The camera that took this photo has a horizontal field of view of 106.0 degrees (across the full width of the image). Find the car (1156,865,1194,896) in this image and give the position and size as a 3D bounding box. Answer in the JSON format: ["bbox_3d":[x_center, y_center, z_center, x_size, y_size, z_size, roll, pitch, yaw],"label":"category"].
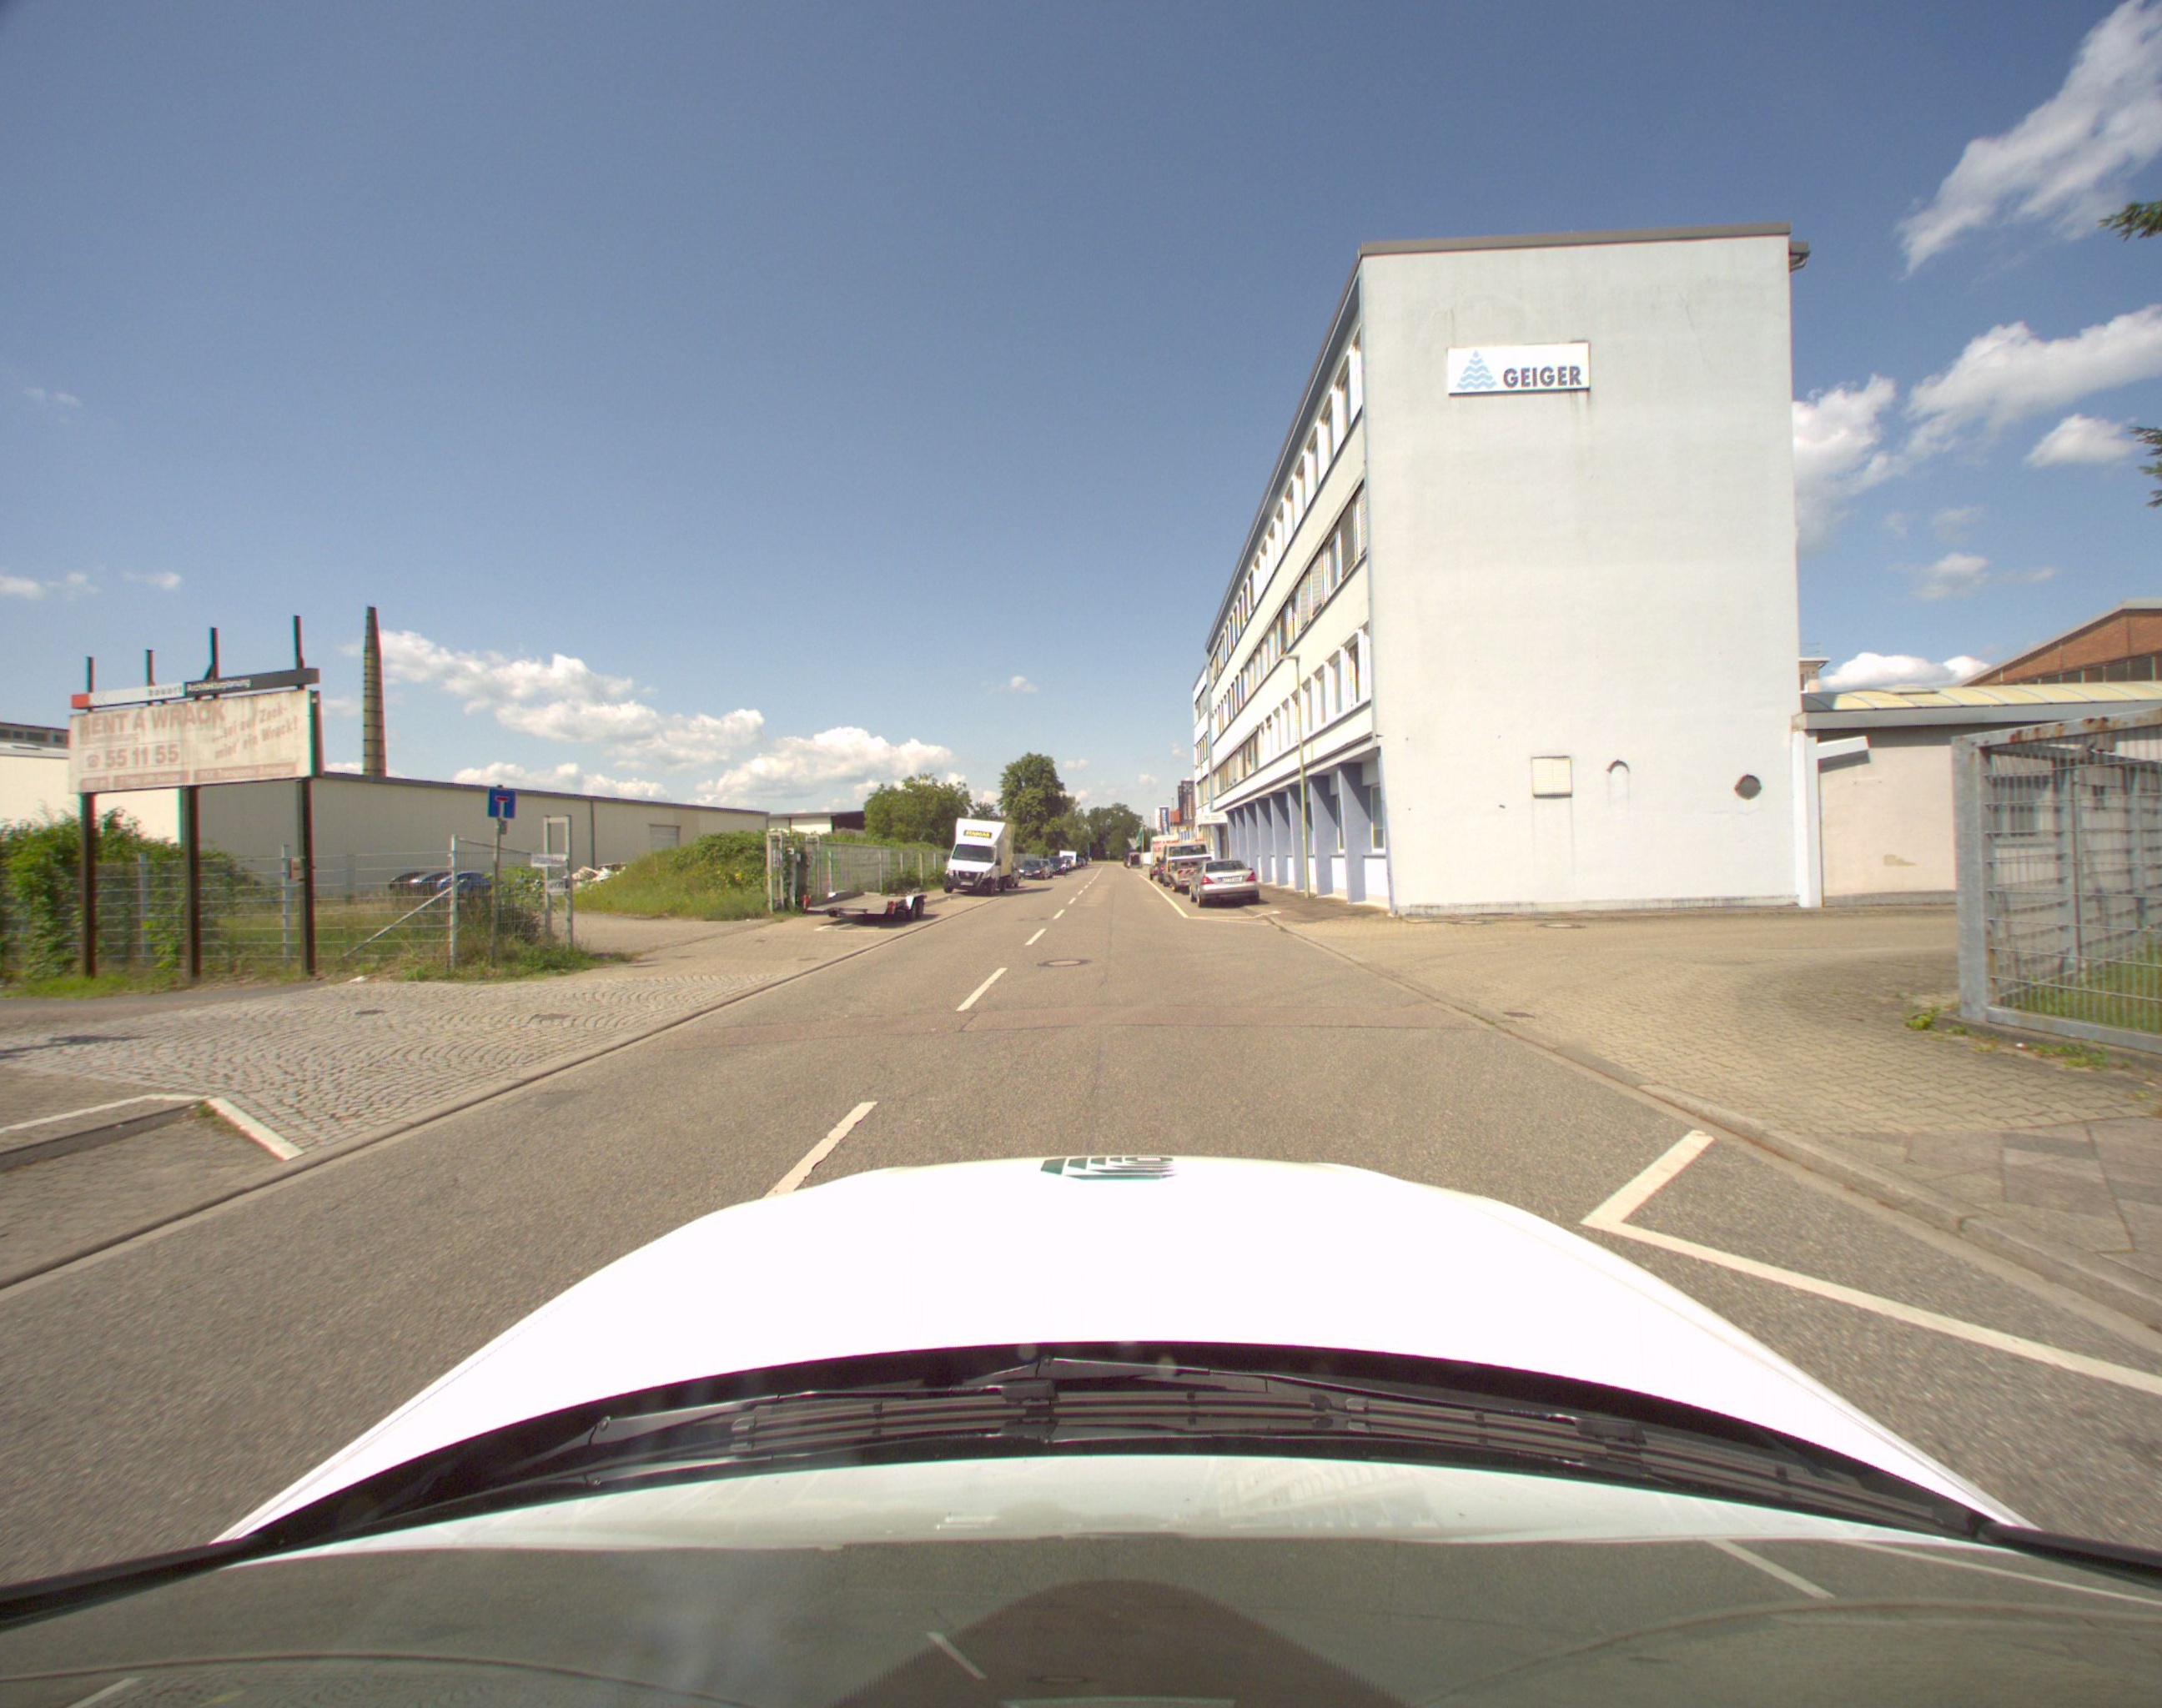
[{"bbox_3d":[4.893,1.339,42.753,1.711,1.542,4.406,0,-1,3],"label":"car"}]

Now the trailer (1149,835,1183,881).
[{"bbox_3d":[5.013,0.247,48.606,1.860,2.553,5.078,-1,0,5],"label":"trailer"}]

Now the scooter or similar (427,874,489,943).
[{"bbox_3d":[-12.307,1.051,16.089,0.887,1.275,0.886,-1,-1,-42],"label":"scooter or similar"}]

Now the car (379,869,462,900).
[{"bbox_3d":[-34.620,1.583,42.700,3.949,1.534,2.012,-1,0,29],"label":"car"}]

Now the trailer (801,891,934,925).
[{"bbox_3d":[-5.441,1.377,21.416,2.227,0.552,4.445,-1,0,1],"label":"trailer"}]

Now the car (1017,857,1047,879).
[{"bbox_3d":[-3.478,0.996,58.235,1.562,1.399,3.802,4,0,4],"label":"car"}]

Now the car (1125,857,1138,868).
[{"bbox_3d":[6.836,1.175,110.254,1.566,1.507,4.134,-1,-1,2],"label":"car"}]

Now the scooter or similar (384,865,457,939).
[{"bbox_3d":[-14.760,1.036,18.188,1.176,1.537,1.432,-1,-1,-42],"label":"scooter or similar"}]

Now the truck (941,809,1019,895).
[{"bbox_3d":[-4.372,-0.077,36.466,2.242,3.362,6.909,3,0,1],"label":"truck"}]

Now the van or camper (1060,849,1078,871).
[{"bbox_3d":[-1.685,0.865,115.061,2.255,2.804,6.833,2,-1,0],"label":"van or camper"}]

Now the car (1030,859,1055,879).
[{"bbox_3d":[-2.960,1.120,63.274,1.609,1.483,3.711,1,0,2],"label":"car"}]

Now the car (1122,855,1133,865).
[{"bbox_3d":[7.989,0.976,140.001,1.818,1.664,4.558,-2,0,2],"label":"car"}]

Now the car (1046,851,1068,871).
[{"bbox_3d":[-2.210,0.680,76.463,1.794,1.750,4.714,-1,-1,1],"label":"car"}]

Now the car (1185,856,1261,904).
[{"bbox_3d":[4.086,0.713,23.985,1.641,1.246,4.002,-1,0,2],"label":"car"}]

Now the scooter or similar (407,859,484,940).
[{"bbox_3d":[-13.329,0.922,17.077,1.176,1.586,1.304,-1,-1,-42],"label":"scooter or similar"}]

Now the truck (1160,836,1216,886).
[{"bbox_3d":[4.647,0.305,36.015,1.957,2.035,4.736,-1,0,2],"label":"truck"}]

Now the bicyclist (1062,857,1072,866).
[{"bbox_3d":[-1.098,0.589,64.578,0.563,0.631,1.860,0,0,5],"label":"bicyclist"}]

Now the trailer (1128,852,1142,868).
[{"bbox_3d":[6.866,0.733,104.068,1.595,2.037,2.741,0,-1,1],"label":"trailer"}]

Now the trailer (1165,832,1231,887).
[{"bbox_3d":[4.567,0.210,32.712,1.966,1.971,5.768,-1,0,2],"label":"trailer"}]

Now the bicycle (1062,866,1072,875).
[{"bbox_3d":[-1.103,1.303,64.584,0.585,0.741,2.128,-1,0,4],"label":"bicycle"}]

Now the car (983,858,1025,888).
[{"bbox_3d":[-4.070,0.994,43.696,1.612,1.430,3.829,5,0,2],"label":"car"}]
